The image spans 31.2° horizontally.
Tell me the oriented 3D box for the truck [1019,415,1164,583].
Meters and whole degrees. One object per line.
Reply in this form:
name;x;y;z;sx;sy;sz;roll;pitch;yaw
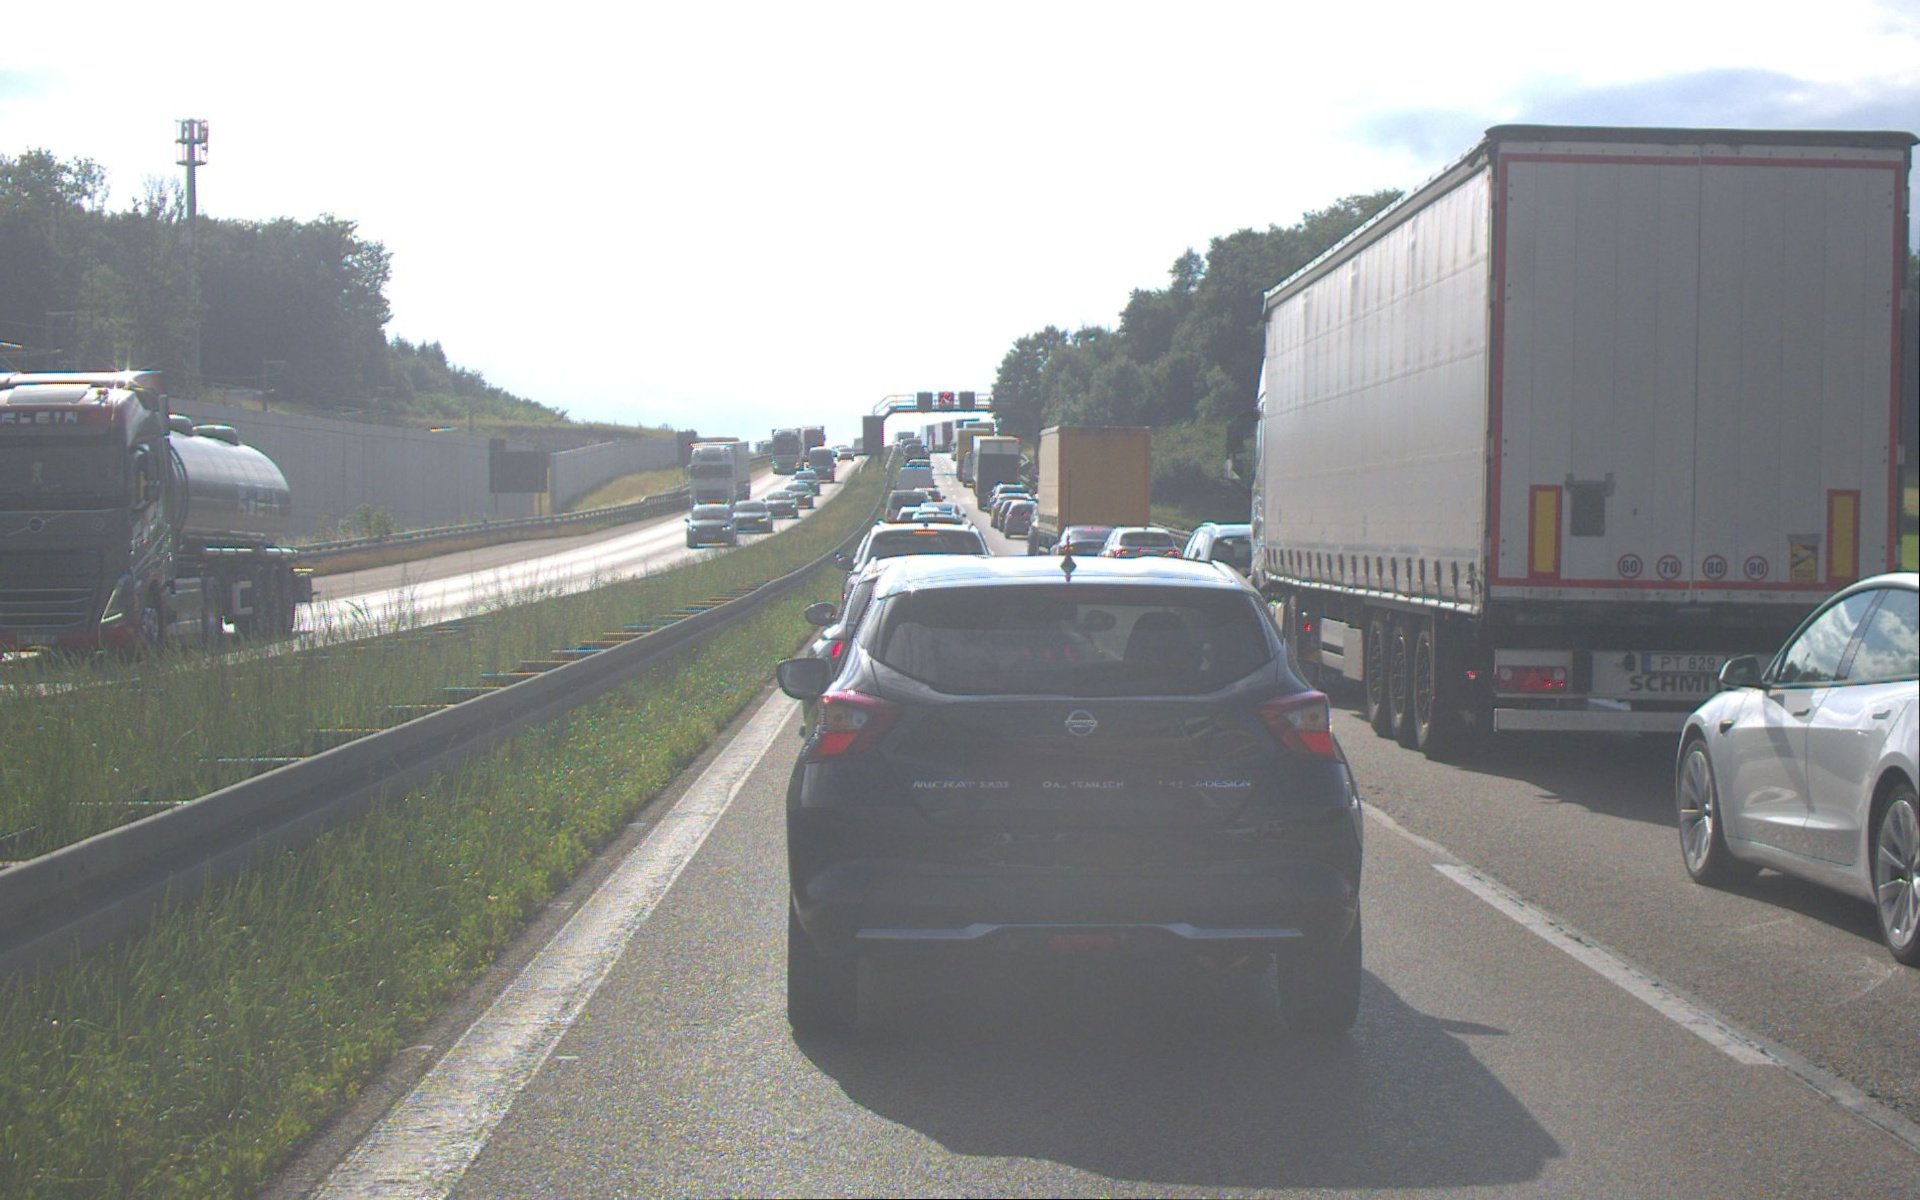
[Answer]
truck;3.730;-2.823;100.643;3.296;4.562;12.442;1;0;-2

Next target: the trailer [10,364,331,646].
trailer;-12.045;-1.411;53.542;2.588;3.888;10.865;-1;1;-1

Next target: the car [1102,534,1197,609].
car;4.256;-0.664;77.819;1.873;1.638;4.232;0;1;0

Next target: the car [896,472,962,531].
car;-0.895;-2.874;99.265;1.873;1.638;4.233;0;2;0

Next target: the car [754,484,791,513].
car;-10.106;-5.498;185.758;1.769;1.474;3.829;0;1;0

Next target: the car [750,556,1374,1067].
car;0.274;0.574;11.894;1.773;1.446;4.232;0;1;0

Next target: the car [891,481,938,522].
car;-1.886;-4.078;141.670;1.873;1.638;4.233;0;2;-2

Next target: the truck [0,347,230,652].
truck;-11.976;-1.338;47.400;2.582;3.909;5.722;-1;1;-1

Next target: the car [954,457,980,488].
car;0.495;-9.479;255.146;1.873;2.151;5.212;0;4;-1

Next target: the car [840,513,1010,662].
car;-0.403;-0.164;39.982;1.873;1.638;4.232;0;1;0

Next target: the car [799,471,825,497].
car;-10.169;-7.934;236.213;1.708;1.700;4.174;0;1;-1

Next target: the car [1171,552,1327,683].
car;3.697;0.186;44.582;1.697;1.605;4.437;0;1;1

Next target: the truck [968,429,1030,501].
truck;2.483;-8.854;225.763;3.464;4.561;12.443;1;2;-2

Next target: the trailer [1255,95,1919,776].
trailer;4.488;-0.965;27.019;3.130;3.997;13.366;1;0;0

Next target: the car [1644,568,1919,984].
car;4.119;0.595;13.509;1.788;1.389;4.437;0;1;-3

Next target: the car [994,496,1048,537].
car;2.523;-3.478;143.046;1.873;1.638;4.233;0;2;-4

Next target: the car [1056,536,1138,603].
car;3.449;-0.791;87.285;1.873;1.638;4.232;0;1;0

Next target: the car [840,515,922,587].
car;-1.850;-1.182;81.500;1.873;1.638;4.233;0;2;0

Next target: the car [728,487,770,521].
car;-9.626;-4.381;157.143;1.697;1.494;4.427;0;1;-1

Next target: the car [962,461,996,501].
car;1.079;-6.927;200.075;1.873;2.151;5.212;0;4;-1

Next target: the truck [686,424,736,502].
truck;-13.933;-7.663;192.800;2.380;4.167;5.932;-1;1;-1

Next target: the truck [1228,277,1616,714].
truck;4.473;-0.969;34.383;3.133;4.002;5.163;1;0;0

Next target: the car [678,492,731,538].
car;-9.934;-3.298;134.080;1.781;1.731;4.102;0;1;0

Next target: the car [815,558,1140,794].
car;0.085;0.410;21.945;1.873;1.353;4.232;0;1;0

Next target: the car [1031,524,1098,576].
car;3.369;-1.645;111.853;1.873;1.638;4.233;0;1;-2

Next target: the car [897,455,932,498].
car;-2.454;-6.675;185.435;1.873;2.151;5.212;0;4;-1
